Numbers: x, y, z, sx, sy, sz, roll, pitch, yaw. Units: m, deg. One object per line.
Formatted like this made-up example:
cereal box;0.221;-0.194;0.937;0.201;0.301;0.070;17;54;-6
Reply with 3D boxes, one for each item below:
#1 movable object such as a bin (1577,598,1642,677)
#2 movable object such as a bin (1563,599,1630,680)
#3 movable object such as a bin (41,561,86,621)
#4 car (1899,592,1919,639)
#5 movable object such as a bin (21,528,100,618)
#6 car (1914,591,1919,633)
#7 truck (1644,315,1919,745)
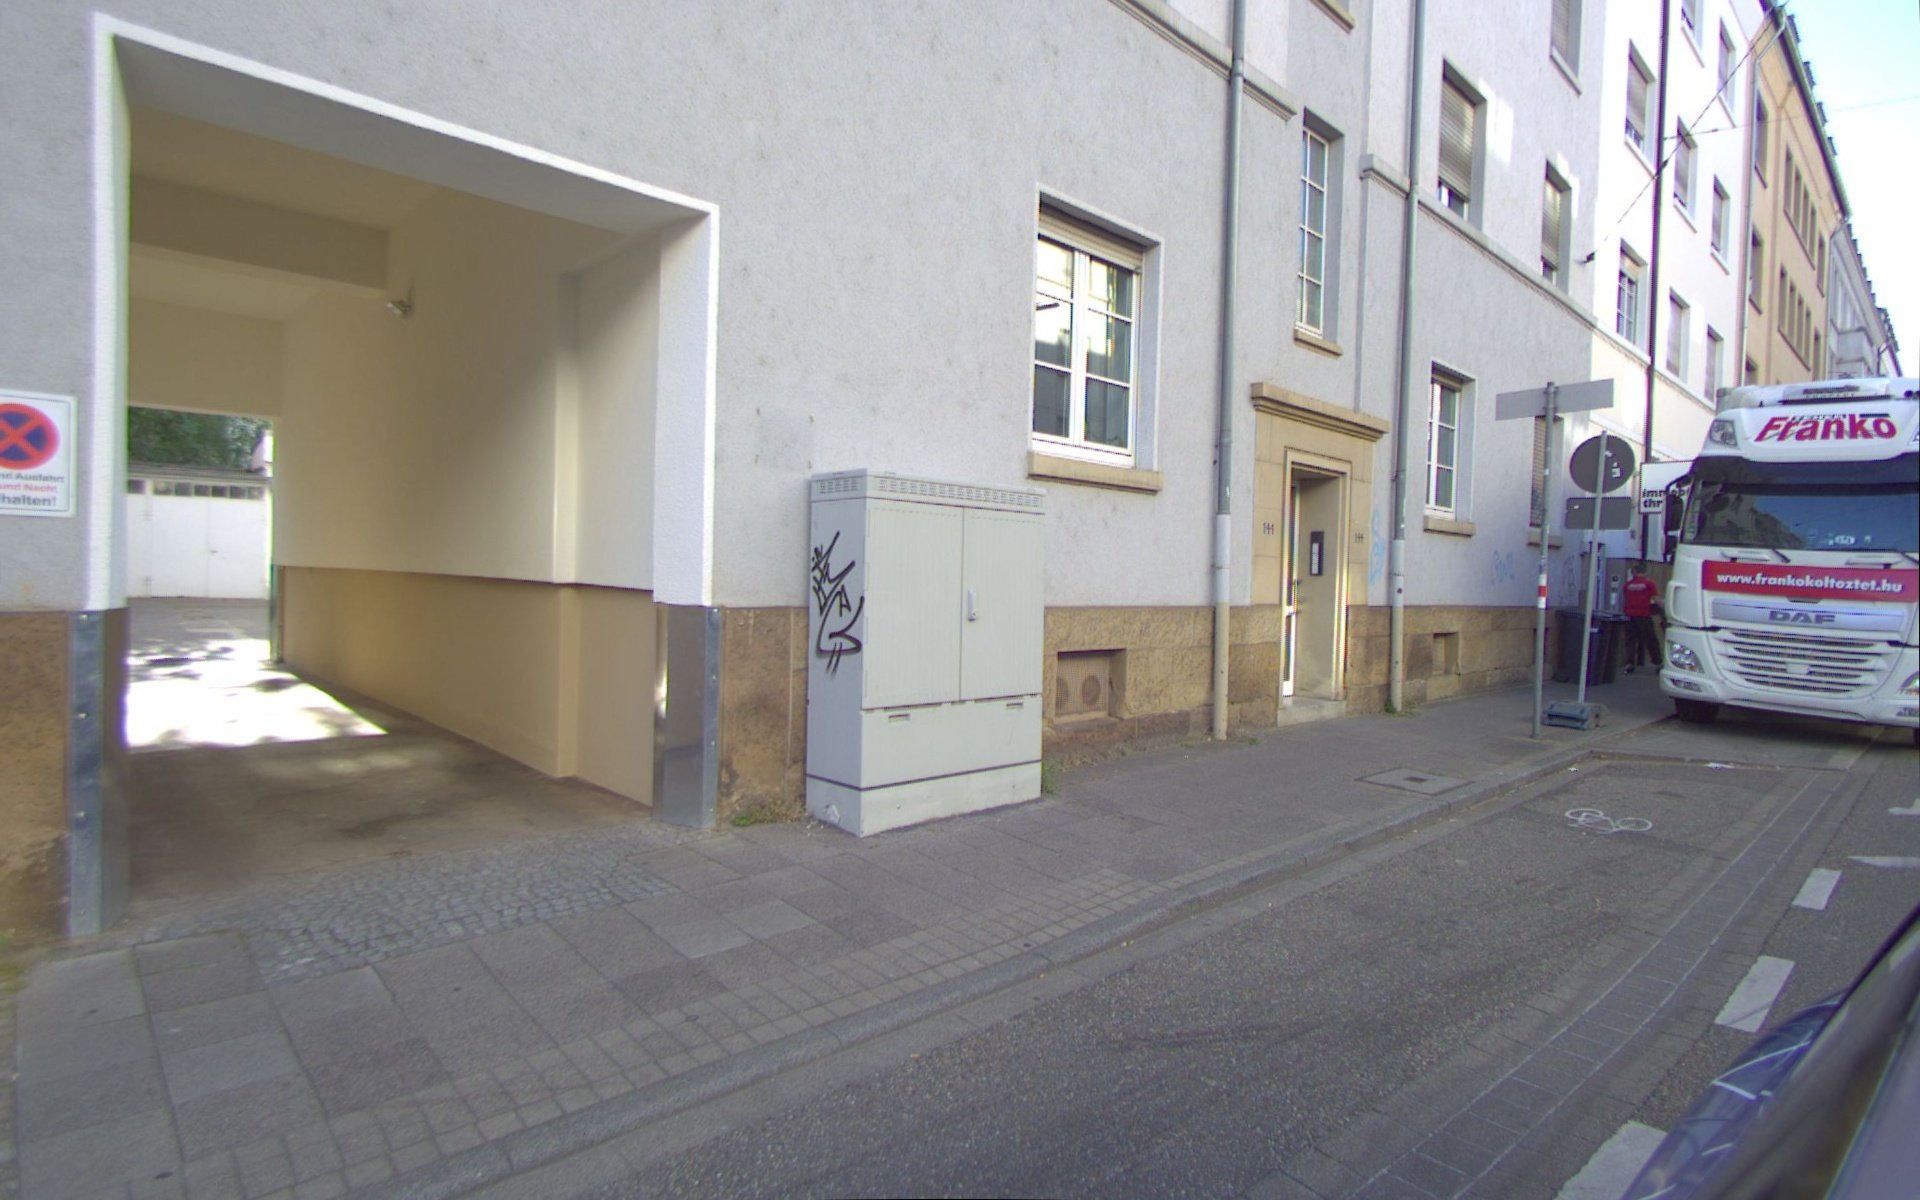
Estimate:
movable object such as a bin;9.663;0.541;15.054;0.560;1.107;0.665;0;2;-43
movable object such as a bin;9.184;0.549;14.603;0.560;1.107;0.665;0;2;-43
movable object such as a bin;-14.364;-0.152;16.214;0.518;0.922;0.580;0;2;-43
car;33.518;0.526;34.748;4.080;1.551;1.681;0;0;-44
movable object such as a bin;-15.140;-0.459;17.032;0.946;1.426;1.597;0;2;-43
car;37.688;0.459;38.645;4.080;1.551;1.681;0;0;-44
truck;12.588;-0.681;13.895;11.621;3.975;2.778;0;2;-44
